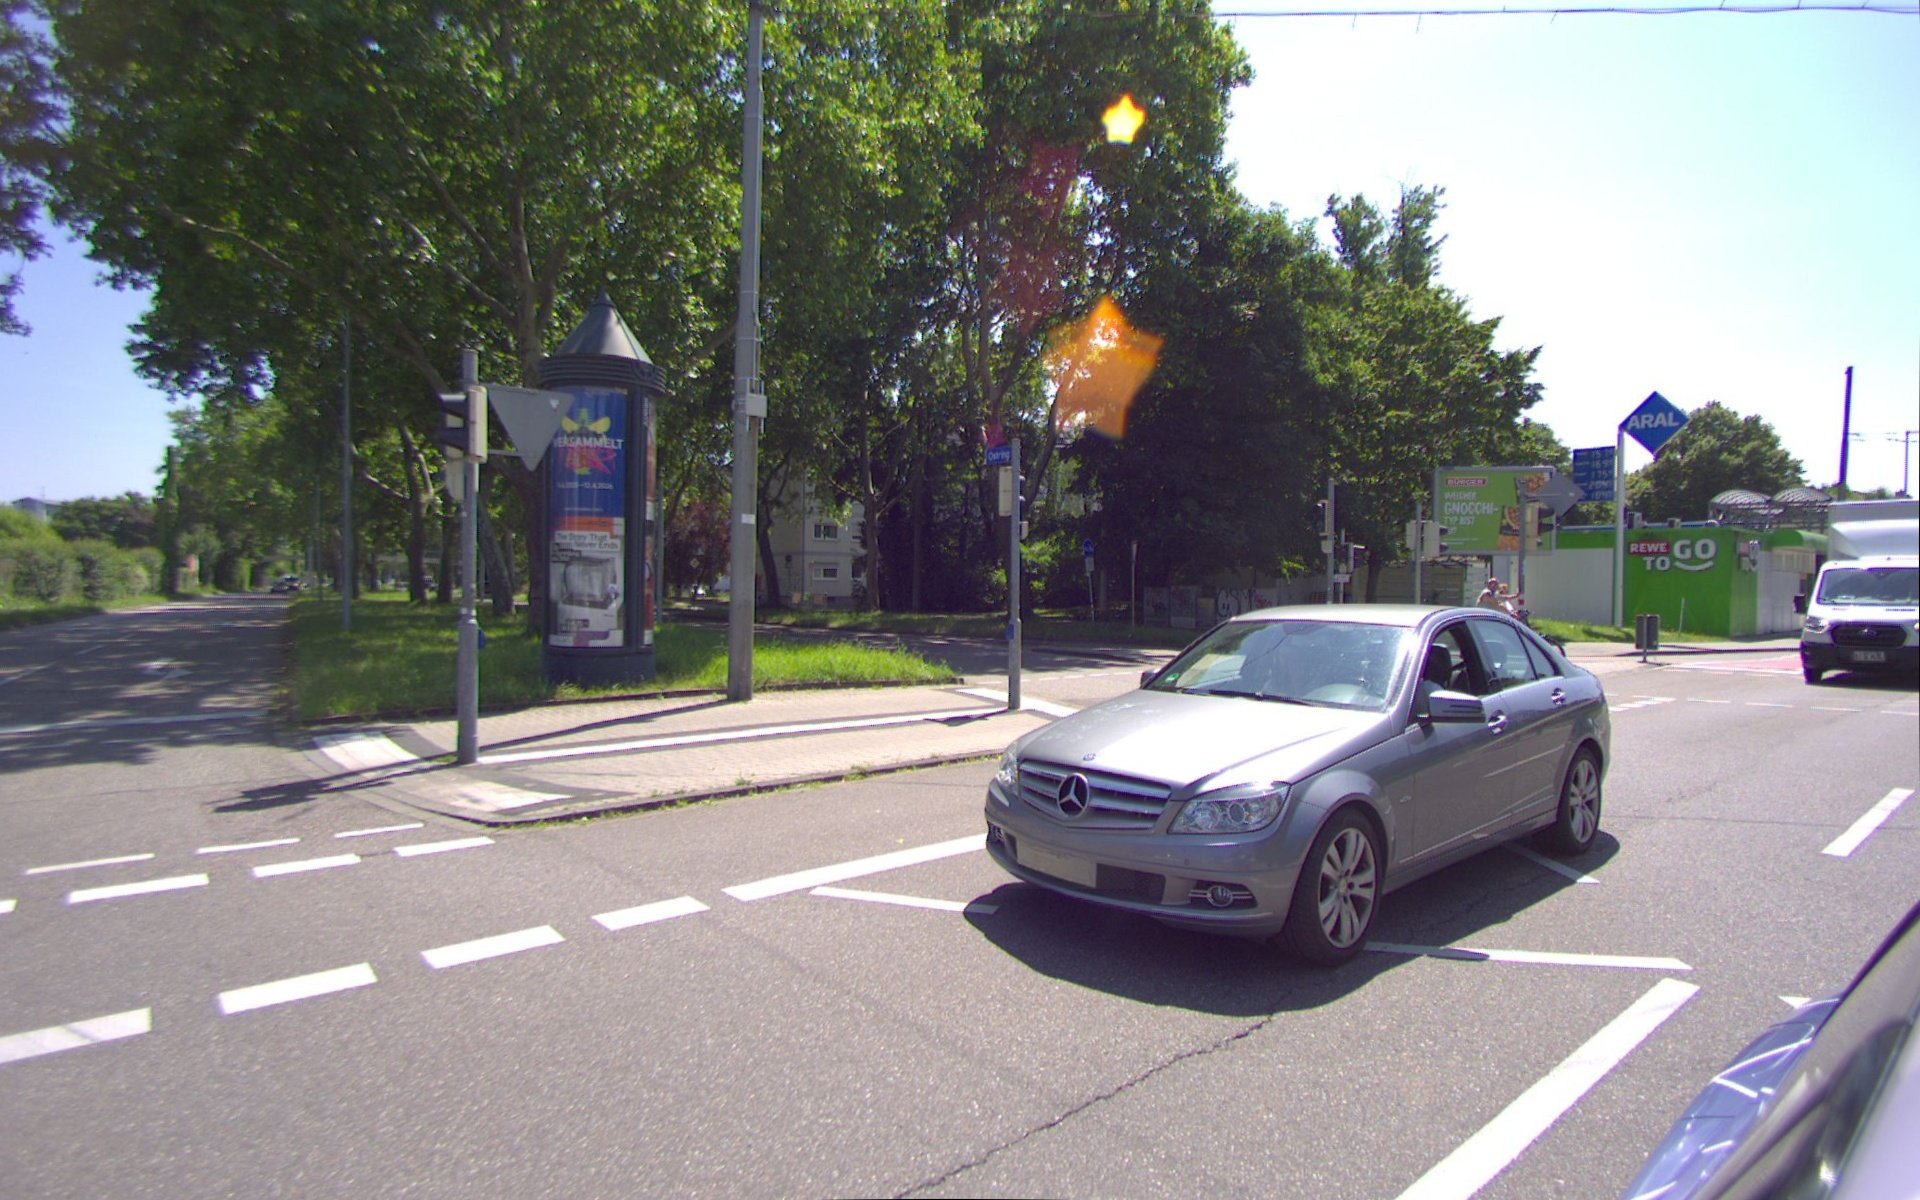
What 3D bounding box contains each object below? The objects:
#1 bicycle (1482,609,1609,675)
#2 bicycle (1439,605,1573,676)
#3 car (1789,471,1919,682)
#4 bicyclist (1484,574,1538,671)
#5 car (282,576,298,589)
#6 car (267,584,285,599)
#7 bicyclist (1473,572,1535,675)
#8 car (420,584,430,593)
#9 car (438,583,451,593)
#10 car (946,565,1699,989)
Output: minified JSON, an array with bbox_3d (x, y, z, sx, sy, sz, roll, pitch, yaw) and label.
[{"bbox_3d":[10.951,0.747,18.984,0.877,1.139,1.874,0,0,-32],"label":"bicycle"},{"bbox_3d":[9.844,0.699,18.302,0.880,1.174,1.952,0,1,-42],"label":"bicycle"},{"bbox_3d":[18.312,-0.369,19.310,8.480,3.378,2.228,0,0,-39],"label":"car"},{"bbox_3d":[10.554,0.426,19.387,0.753,1.811,0.579,0,-1,-32],"label":"bicyclist"},{"bbox_3d":[-91.211,-2.414,137.794,1.726,1.683,3.902,-1,0,-33],"label":"car"},{"bbox_3d":[-79.383,-1.019,117.453,1.726,1.683,3.902,-1,0,-33],"label":"car"},{"bbox_3d":[9.905,0.407,18.410,0.960,1.810,0.725,0,0,-43],"label":"bicyclist"},{"bbox_3d":[-88.079,-1.857,166.683,1.461,1.464,3.356,-1,0,-28],"label":"car"},{"bbox_3d":[-77.223,-1.751,151.592,1.673,1.464,3.389,-1,1,-28],"label":"car"},{"bbox_3d":[2.477,0.650,5.901,5.206,1.492,1.716,0,-1,-40],"label":"car"}]
